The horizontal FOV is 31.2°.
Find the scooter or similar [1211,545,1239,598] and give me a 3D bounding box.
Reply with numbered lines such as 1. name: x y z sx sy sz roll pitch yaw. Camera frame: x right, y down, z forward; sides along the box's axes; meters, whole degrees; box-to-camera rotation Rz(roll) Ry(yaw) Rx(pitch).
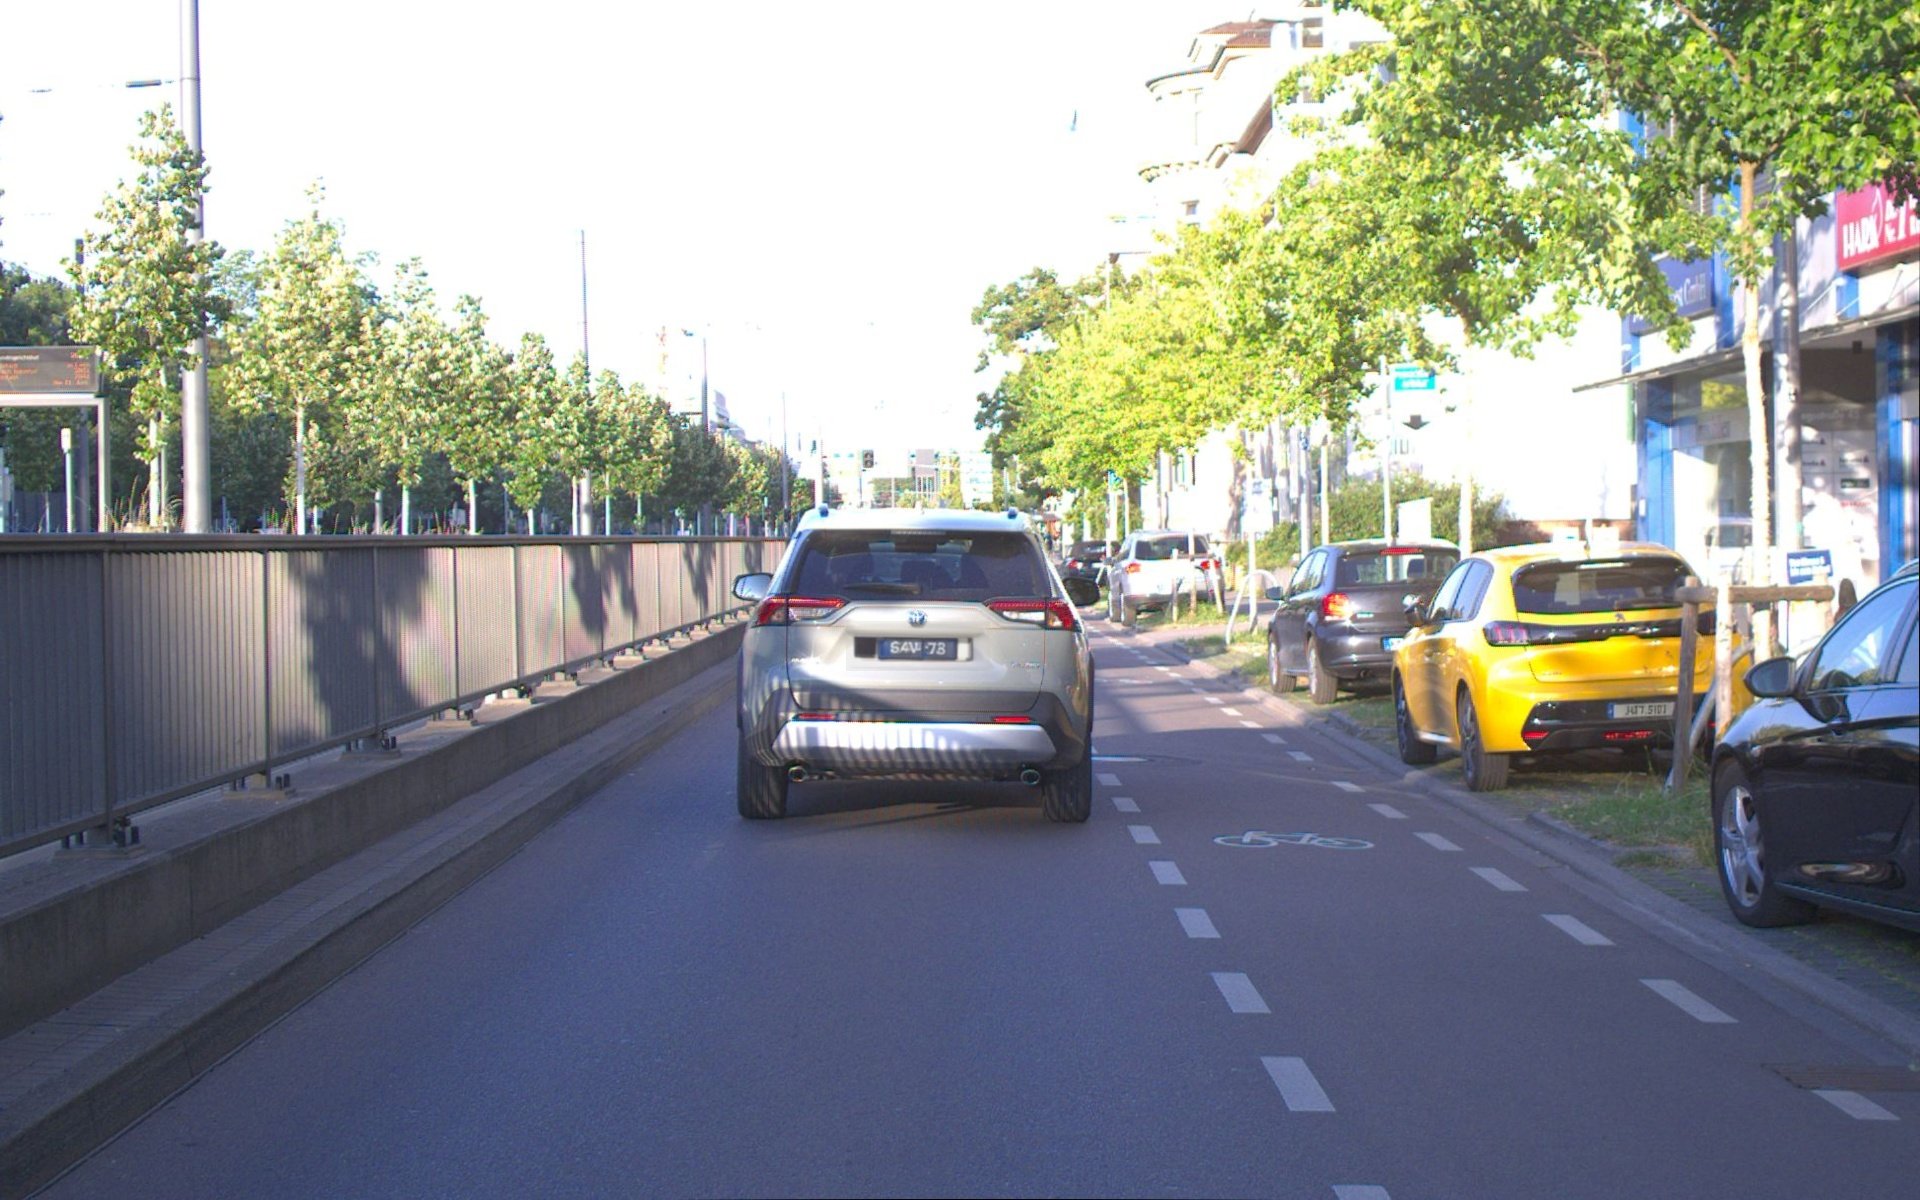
1. scooter or similar: 6.351 -0.679 82.467 0.490 1.254 1.208 1 0 -4

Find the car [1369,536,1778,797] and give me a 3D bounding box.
1. car: 3.773 0.351 21.816 1.683 1.449 4.130 -2 1 -2

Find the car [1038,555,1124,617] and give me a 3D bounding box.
1. car: 3.170 -0.384 90.674 1.792 1.466 4.446 -3 1 -3

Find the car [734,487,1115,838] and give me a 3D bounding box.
1. car: -0.248 0.284 19.153 1.857 1.708 4.193 1 1 -2

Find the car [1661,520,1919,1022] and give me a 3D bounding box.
1. car: 3.914 0.502 11.701 1.819 1.561 4.811 -4 1 -2

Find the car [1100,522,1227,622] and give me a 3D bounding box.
1. car: 3.582 -0.520 61.268 1.854 1.701 4.254 -1 1 -2

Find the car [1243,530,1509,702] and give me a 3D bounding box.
1. car: 3.809 0.110 32.133 1.819 1.449 4.129 -2 1 -2
